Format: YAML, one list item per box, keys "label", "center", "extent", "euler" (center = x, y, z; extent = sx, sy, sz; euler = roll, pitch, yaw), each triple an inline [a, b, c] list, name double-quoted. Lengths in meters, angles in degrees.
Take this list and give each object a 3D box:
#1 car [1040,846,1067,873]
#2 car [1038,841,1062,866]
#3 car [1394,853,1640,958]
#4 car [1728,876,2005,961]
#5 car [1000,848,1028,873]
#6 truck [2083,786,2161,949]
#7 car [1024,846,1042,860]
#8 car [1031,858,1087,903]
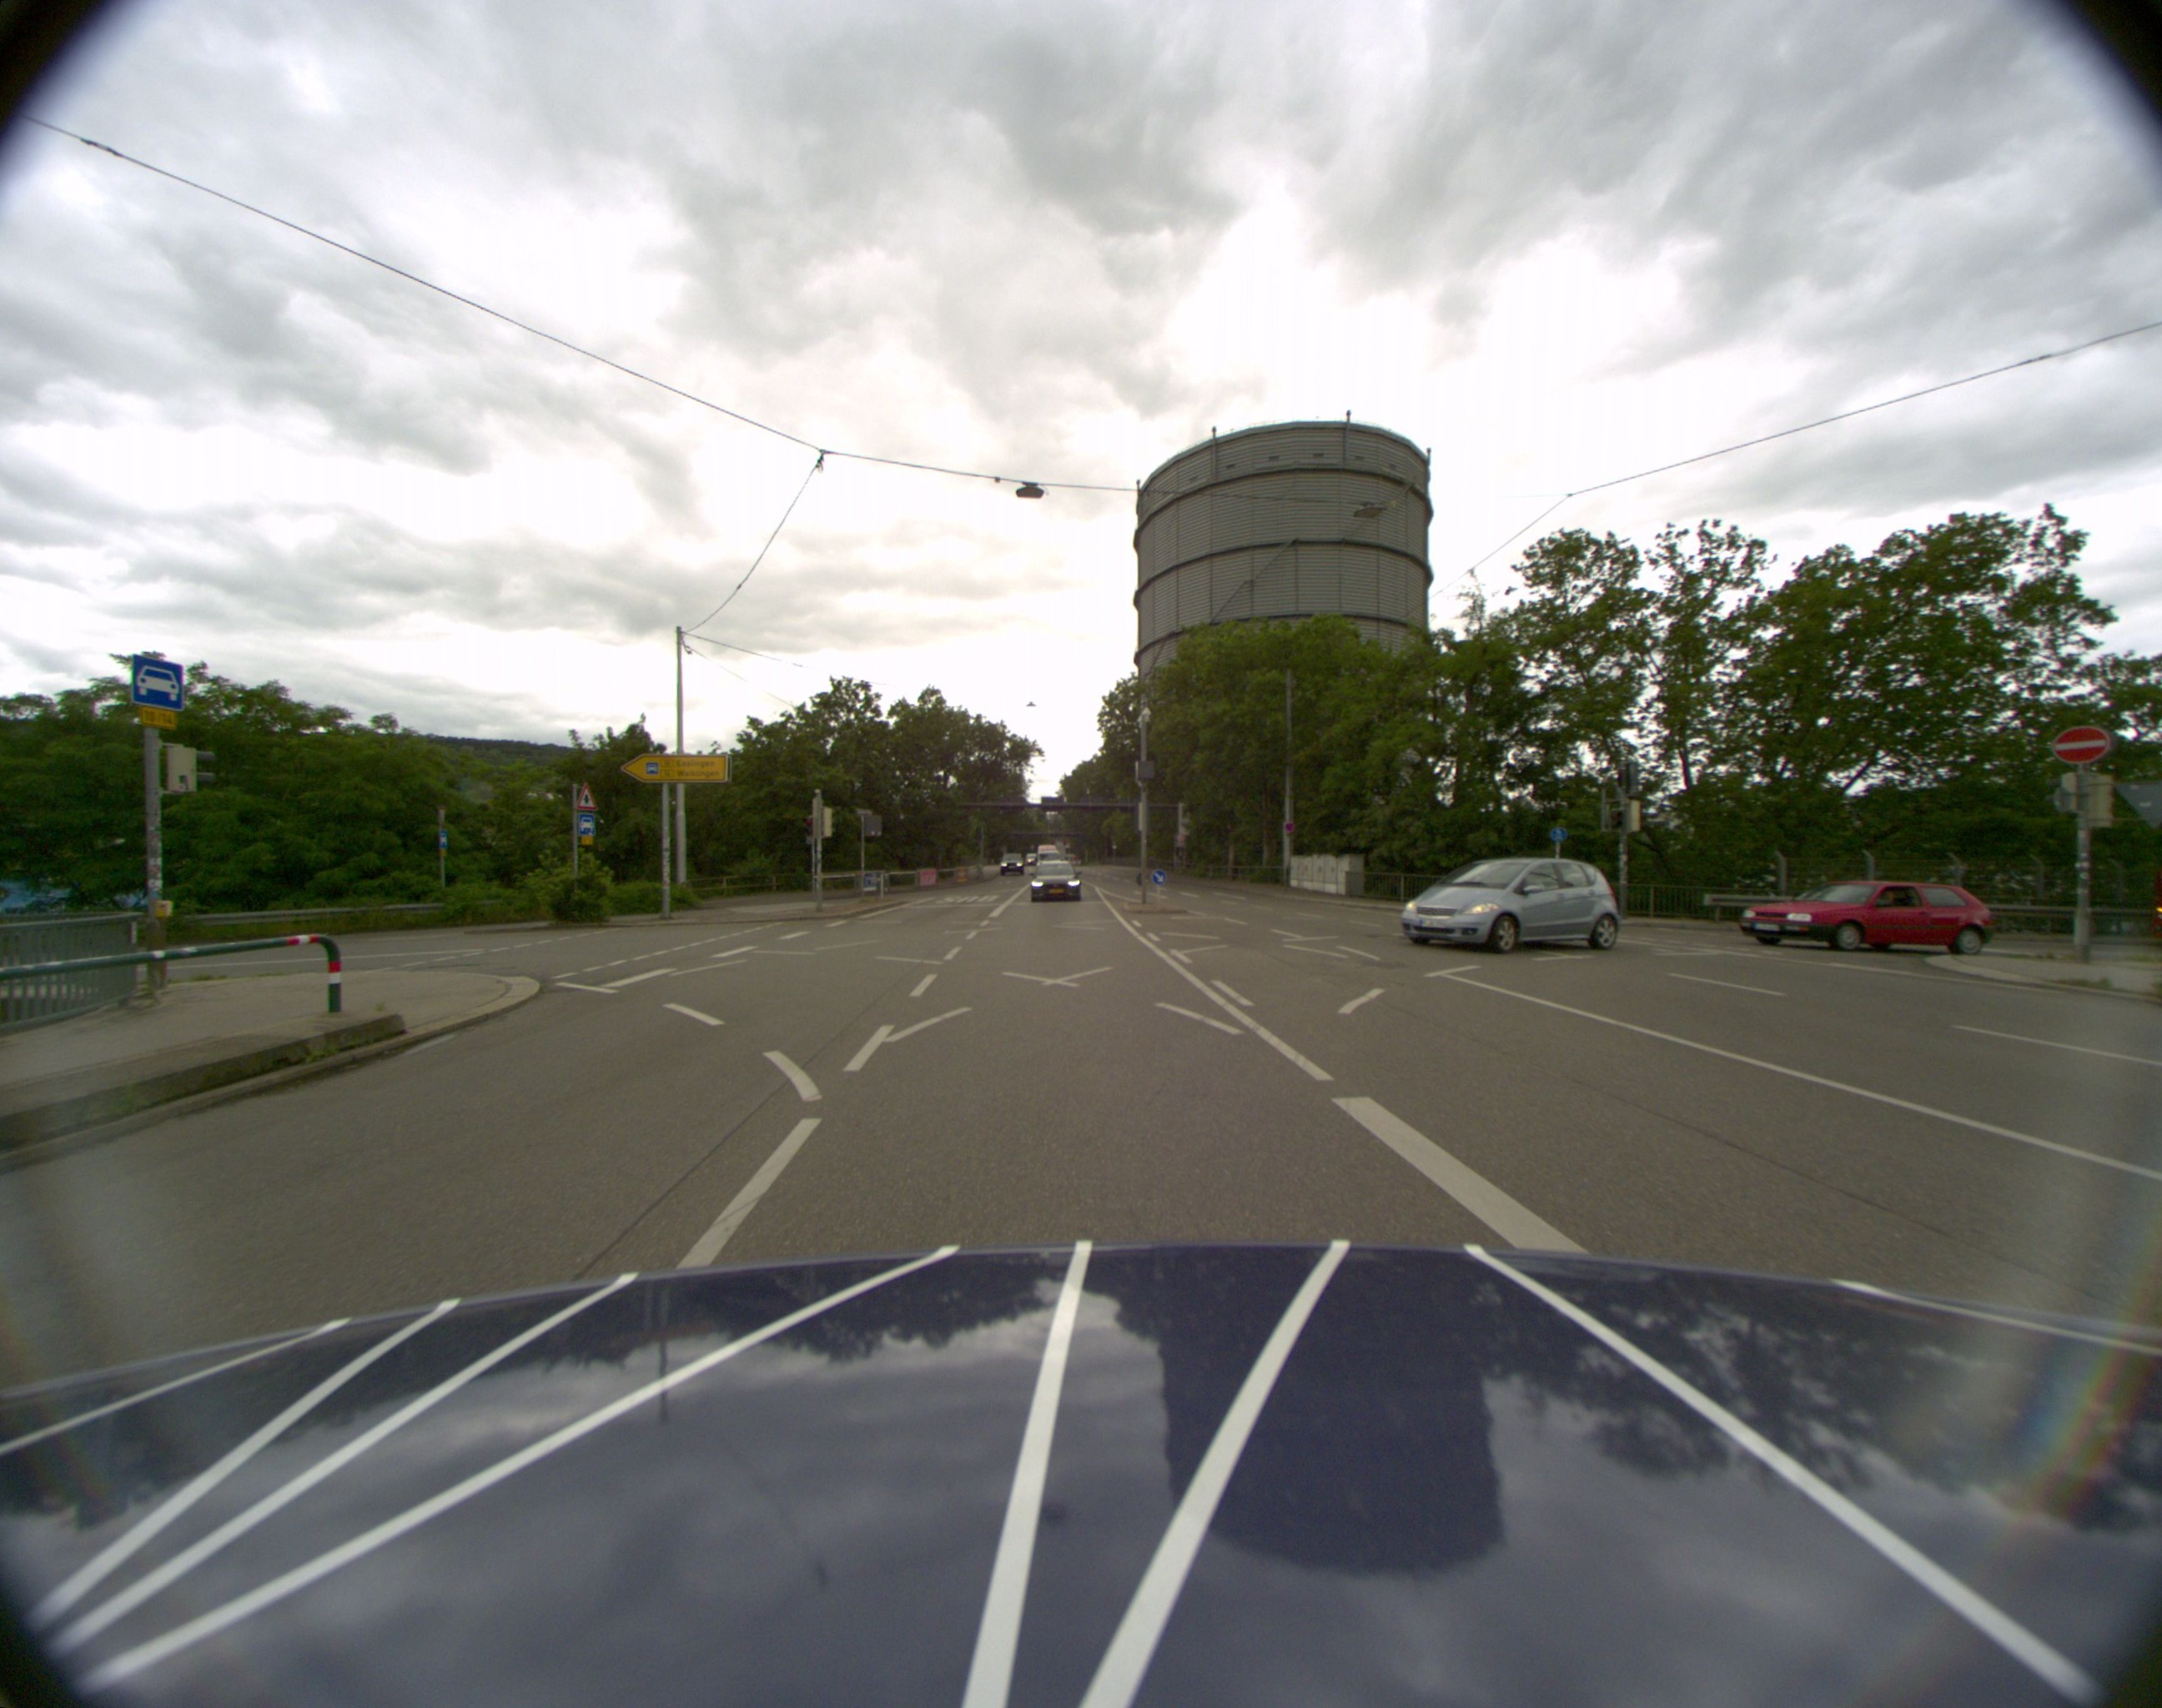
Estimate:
- label: "car"
  center: [-2.232, 0.445, 59.917]
  extent: [1.934, 1.987, 4.451]
  euler: [1, -1, -4]
- label: "car"
  center: [-3.243, -0.081, 79.667]
  extent: [2.332, 2.509, 4.946]
  euler: [2, 0, -4]
- label: "car"
  center: [7.509, 0.862, 13.125]
  extent: [3.687, 1.594, 1.745]
  euler: [2, 0, -22]
- label: "car"
  center: [15.834, 1.272, 15.437]
  extent: [3.953, 1.455, 1.748]
  euler: [2, 0, -4]
- label: "car"
  center: [-5.706, 0.486, 65.391]
  extent: [2.332, 1.905, 4.944]
  euler: [1, 2, -4]
- label: "truck"
  center: [32.184, 0.511, 19.874]
  extent: [7.232, 4.296, 3.670]
  euler: [2, 0, -3]
- label: "car"
  center: [-7.063, -0.127, 112.410]
  extent: [2.331, 1.905, 5.399]
  euler: [1, 1, -1]
- label: "car"
  center: [-0.808, 0.937, 28.893]
  extent: [1.933, 1.412, 4.451]
  euler: [-1, 1, -1]
